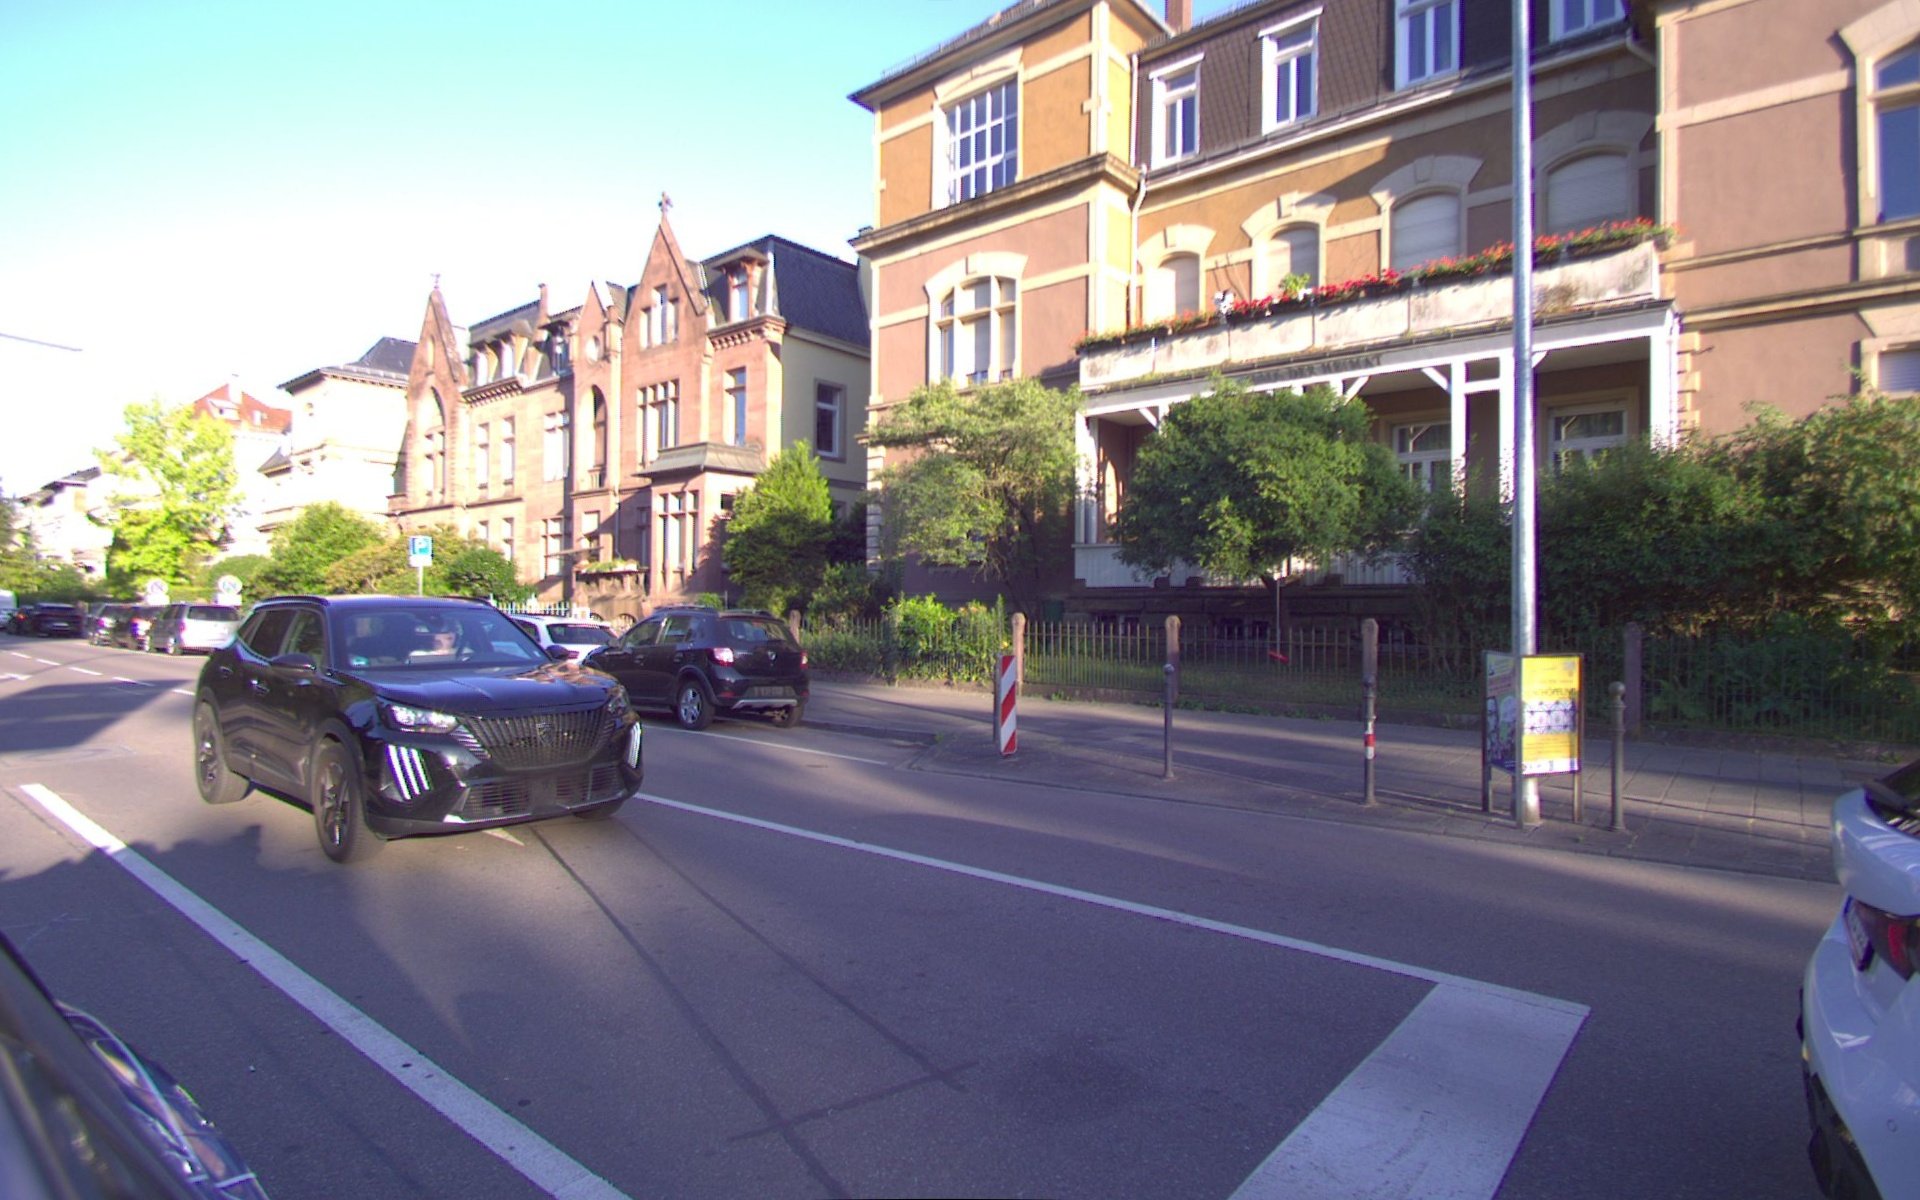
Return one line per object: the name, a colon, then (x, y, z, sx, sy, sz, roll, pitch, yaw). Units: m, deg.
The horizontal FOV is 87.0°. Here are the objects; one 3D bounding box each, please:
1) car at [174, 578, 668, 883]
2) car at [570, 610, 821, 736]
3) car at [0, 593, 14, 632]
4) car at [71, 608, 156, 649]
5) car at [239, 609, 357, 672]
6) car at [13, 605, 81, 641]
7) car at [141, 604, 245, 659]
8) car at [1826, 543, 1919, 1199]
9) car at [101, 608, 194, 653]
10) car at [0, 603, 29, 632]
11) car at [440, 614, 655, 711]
car: (-3.913, 0.688, 7.062, 3.997, 1.547, 1.661, -1, -1, 40)
car: (-3.803, 0.962, 14.264, 3.722, 1.546, 1.610, -1, -4, 42)
car: (-60.510, 0.765, 62.536, 5.873, 2.387, 2.203, 0, -2, 39)
car: (-31.387, 1.039, 37.491, 3.719, 1.461, 1.694, 0, -2, 39)
car: (-16.624, 0.982, 25.350, 3.566, 1.456, 1.610, -1, -2, 42)
car: (-42.179, 1.062, 46.744, 3.721, 1.617, 1.856, -1, -2, 41)
car: (-23.818, 0.945, 31.386, 3.749, 1.601, 1.694, 0, -2, 39)
car: (3.576, 0.651, 0.914, 4.185, 1.477, 1.734, -1, -1, 40)
car: (-27.755, 1.026, 34.529, 3.719, 1.461, 1.694, 0, -2, 39)
car: (-55.253, 1.024, 58.424, 3.851, 1.617, 1.694, -1, -2, 40)
car: (-7.140, 1.009, 17.290, 4.432, 1.454, 1.587, -1, -4, 42)
